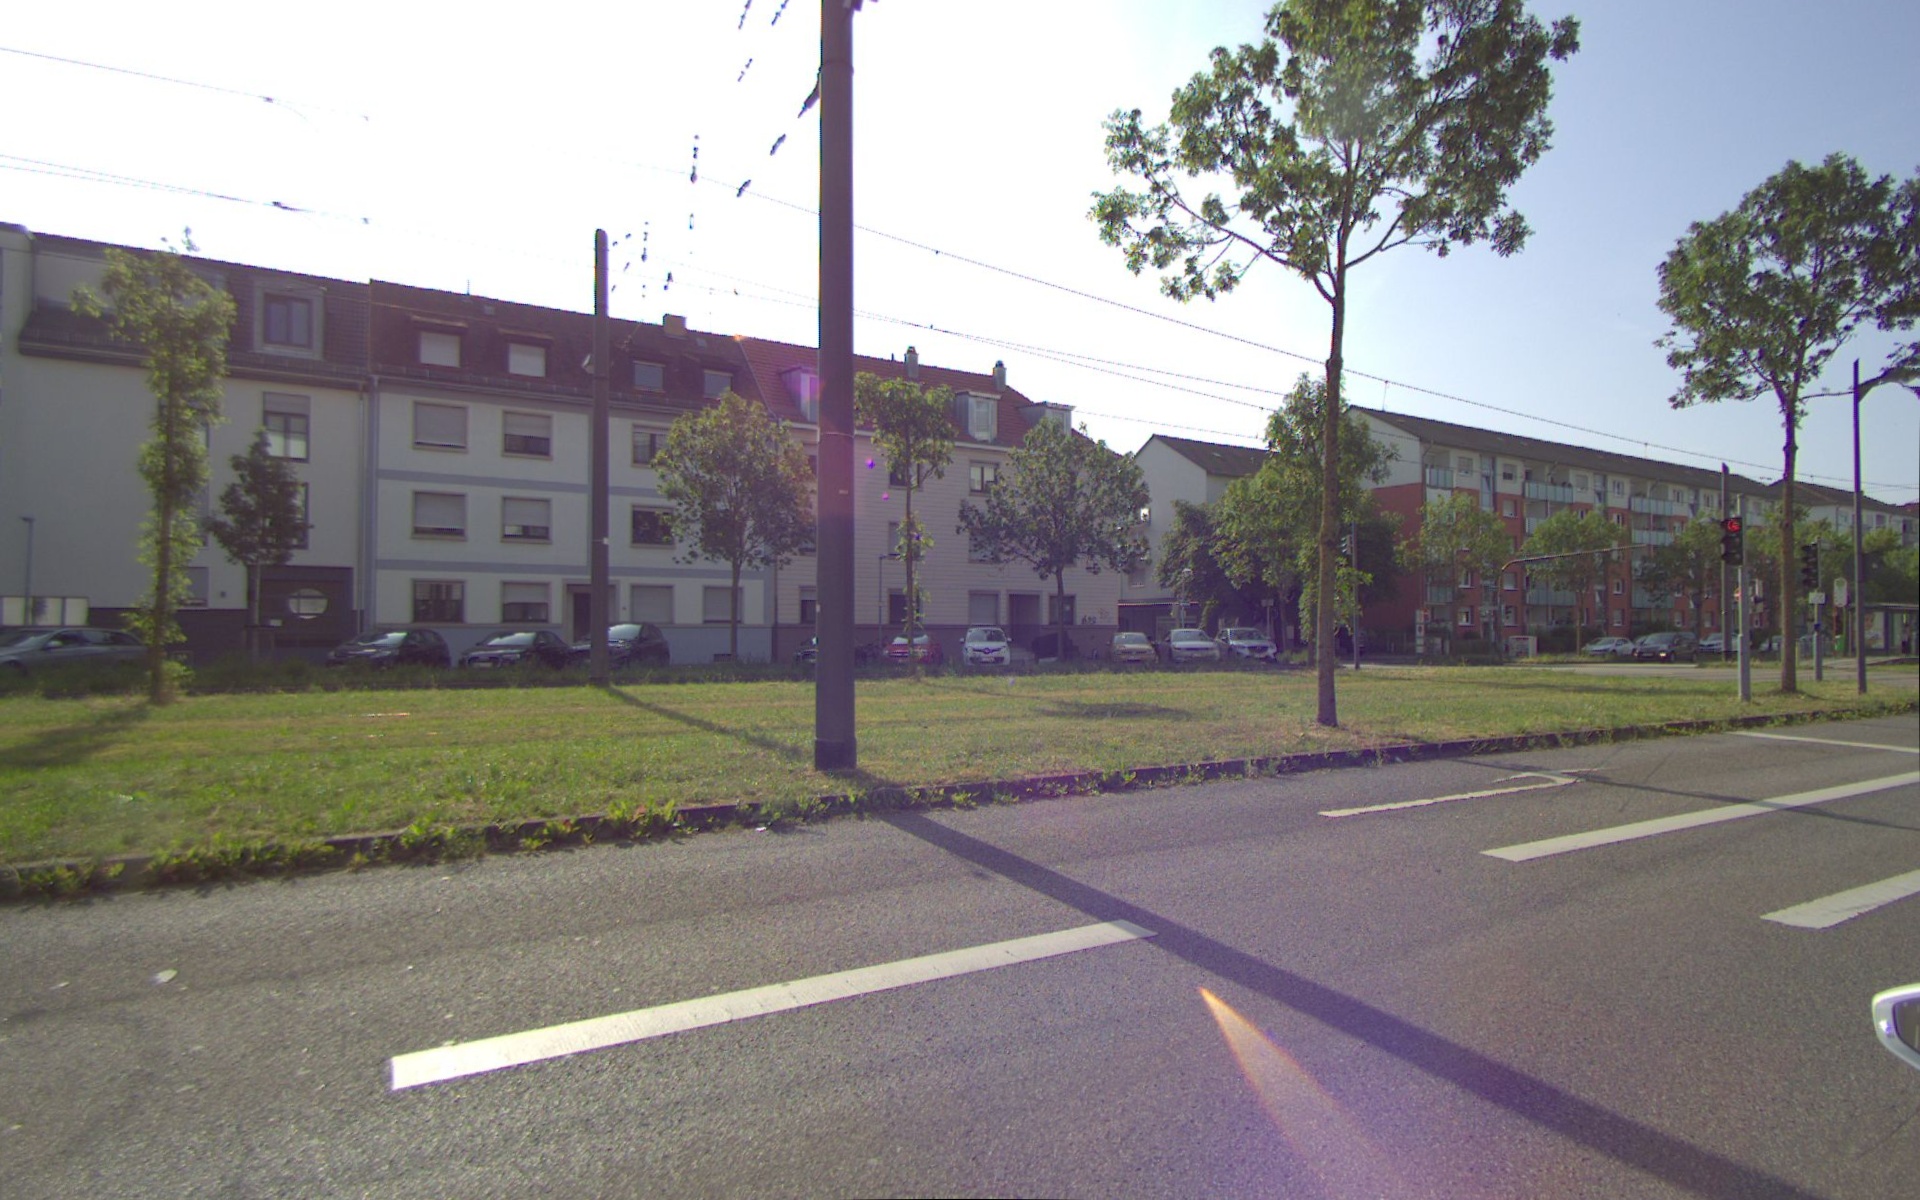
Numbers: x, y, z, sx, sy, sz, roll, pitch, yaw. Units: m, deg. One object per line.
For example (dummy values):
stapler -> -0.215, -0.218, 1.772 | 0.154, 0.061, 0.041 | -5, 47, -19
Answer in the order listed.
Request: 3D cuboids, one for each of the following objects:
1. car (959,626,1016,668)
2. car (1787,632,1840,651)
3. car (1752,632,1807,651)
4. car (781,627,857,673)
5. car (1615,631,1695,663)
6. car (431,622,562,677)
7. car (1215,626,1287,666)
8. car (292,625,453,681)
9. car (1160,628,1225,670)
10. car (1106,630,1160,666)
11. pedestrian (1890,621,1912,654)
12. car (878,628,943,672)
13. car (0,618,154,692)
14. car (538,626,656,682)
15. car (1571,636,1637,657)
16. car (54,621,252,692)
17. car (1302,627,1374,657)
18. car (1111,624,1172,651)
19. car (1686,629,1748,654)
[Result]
car -> 0.908, 1.609, 35.517 | 1.849, 1.286, 4.000 | 1, 0, -1
car -> 65.519, 3.186, 77.131 | 4.024, 1.378, 1.970 | 1, 0, -32
car -> 60.967, 3.075, 74.720 | 4.024, 1.378, 1.970 | 1, 0, -32
car -> -4.433, 1.557, 32.049 | 1.665, 1.251, 4.001 | 1, 0, 3
car -> 39.047, 2.608, 56.416 | 4.658, 1.728, 1.984 | 1, -1, -30
car -> -12.518, 1.300, 27.419 | 1.962, 1.305, 3.997 | 1, 0, -5
car -> 12.167, 1.880, 42.330 | 1.924, 1.483, 4.354 | 1, 0, 3
car -> -14.733, 1.297, 25.474 | 1.962, 1.305, 3.998 | 1, -1, -5
car -> 9.233, 1.913, 40.221 | 1.959, 1.534, 4.468 | 0, -1, 6
car -> 6.809, 1.853, 39.570 | 1.959, 1.194, 4.002 | 1, 0, 10
pedestrian -> 49.302, 1.967, 52.637 | 0.787, 1.675, 0.667 | 1, -2, -35
car -> -1.612, 1.647, 33.944 | 1.838, 1.275, 4.001 | 1, 0, 2
car -> -20.694, 1.158, 22.527 | 1.962, 1.394, 4.337 | 1, 0, -5
car -> -9.983, 1.455, 27.959 | 1.961, 1.305, 4.057 | 1, 0, -3
car -> 39.390, 2.839, 61.433 | 4.118, 1.163, 1.823 | 1, 0, -32
car -> -18.151, 1.214, 22.823 | 1.633, 1.394, 3.778 | 1, 0, -5
car -> 24.059, 2.670, 64.050 | 1.976, 1.717, 3.968 | 1, 0, -30
car -> 12.099, 2.483, 67.258 | 1.974, 1.627, 3.971 | 1, 0, -28
car -> 52.647, 2.870, 69.837 | 4.487, 1.577, 1.970 | 1, 0, -32
